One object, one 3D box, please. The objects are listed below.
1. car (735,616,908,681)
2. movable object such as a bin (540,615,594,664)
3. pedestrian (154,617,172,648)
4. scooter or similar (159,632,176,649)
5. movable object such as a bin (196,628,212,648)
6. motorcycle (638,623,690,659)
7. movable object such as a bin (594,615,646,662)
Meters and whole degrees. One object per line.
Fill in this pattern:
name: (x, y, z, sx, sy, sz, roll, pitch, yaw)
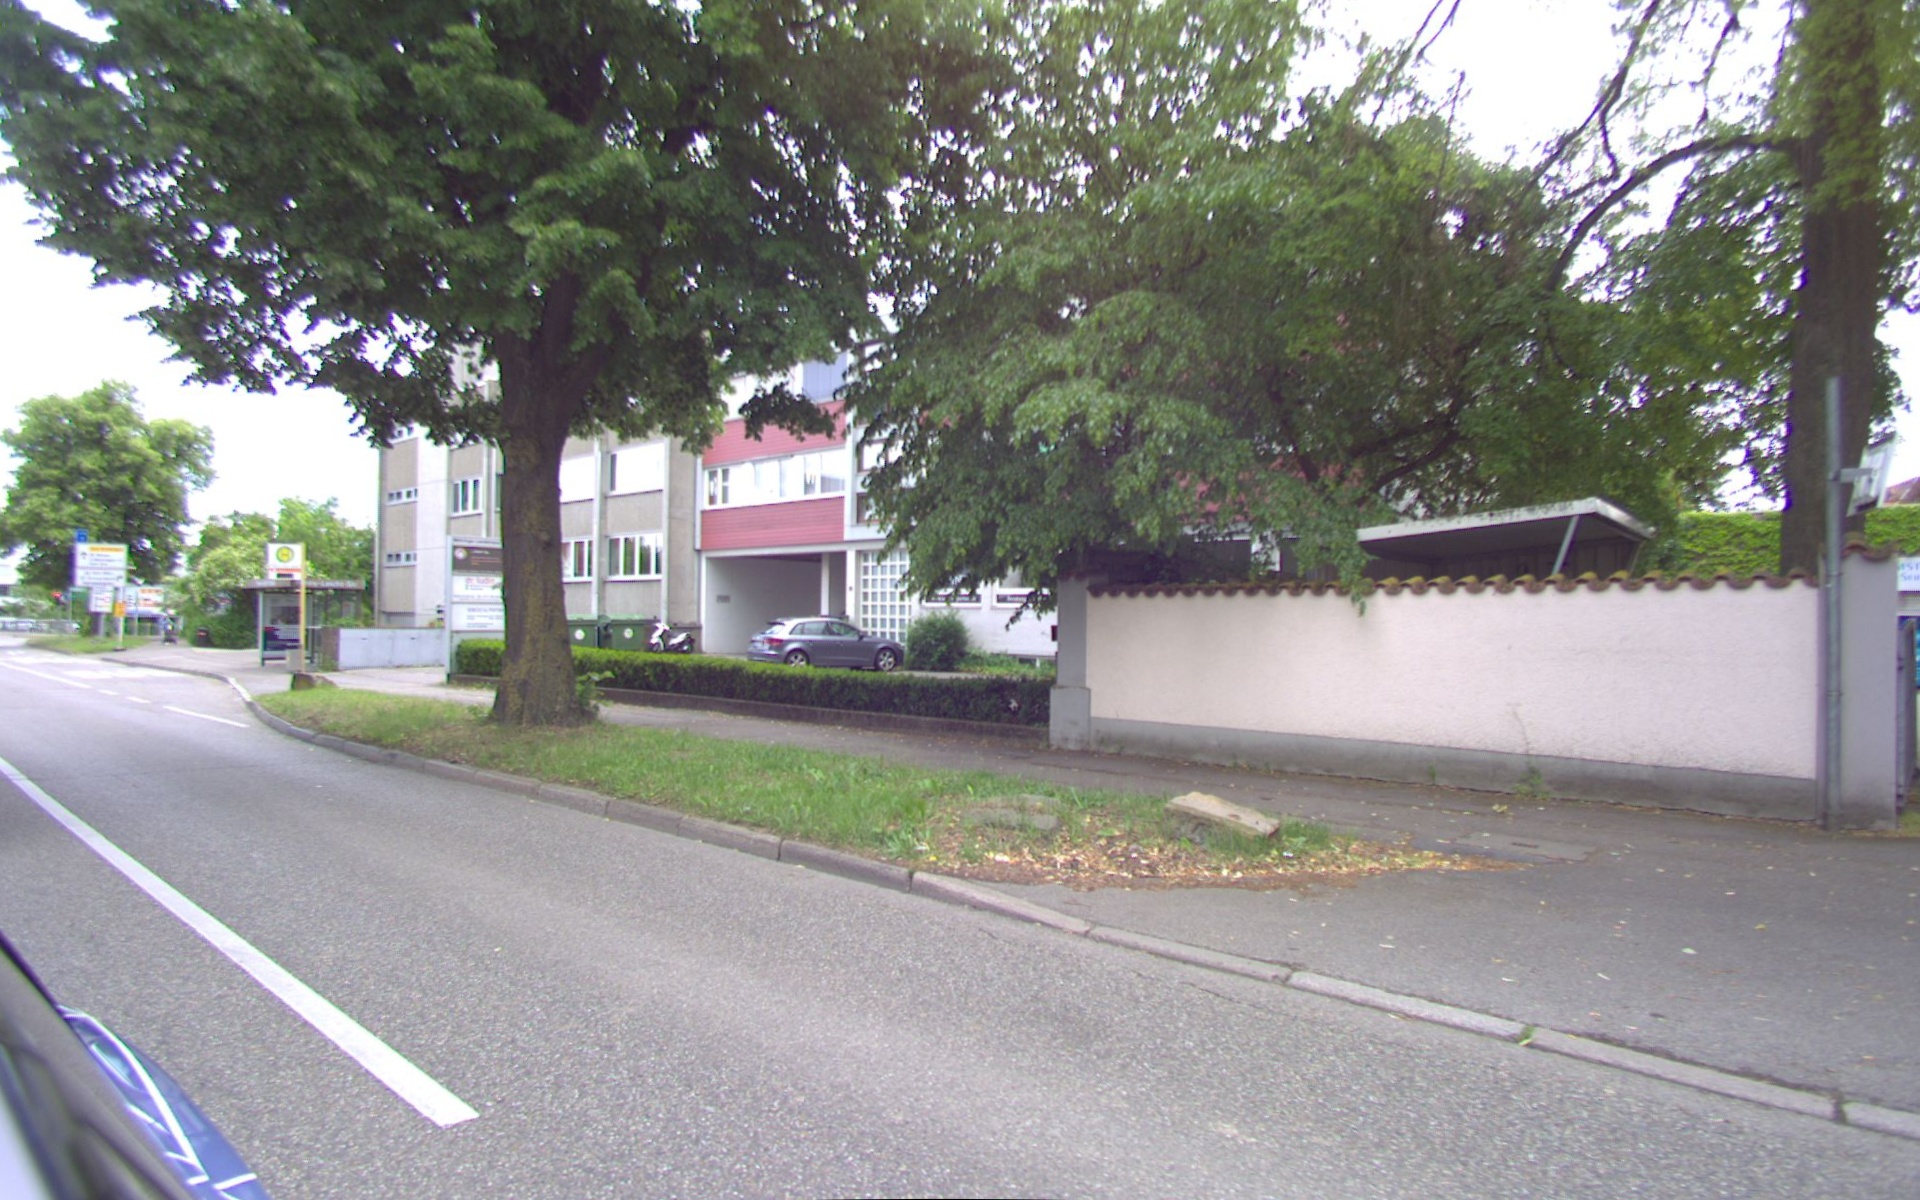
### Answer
car: (-3.558, 1.190, 26.277, 4.082, 1.490, 1.817, 0, 0, -35)
movable object such as a bin: (-12.352, 1.236, 31.815, 0.992, 1.476, 1.285, 0, 0, 41)
pedestrian: (-40.301, 1.645, 51.174, 0.662, 1.570, 0.521, 0, 0, -32)
scooter or similar: (-39.687, 2.026, 50.693, 0.598, 0.792, 0.861, 0, 0, -32)
movable object such as a bin: (-35.811, 1.793, 47.966, 0.558, 0.934, 0.609, 1, -1, -33)
motorcycle: (-10.074, 1.378, 34.487, 0.639, 1.148, 1.624, 0, 0, 41)
movable object such as a bin: (-11.126, 1.252, 33.155, 0.884, 1.476, 1.347, 0, 0, 41)
